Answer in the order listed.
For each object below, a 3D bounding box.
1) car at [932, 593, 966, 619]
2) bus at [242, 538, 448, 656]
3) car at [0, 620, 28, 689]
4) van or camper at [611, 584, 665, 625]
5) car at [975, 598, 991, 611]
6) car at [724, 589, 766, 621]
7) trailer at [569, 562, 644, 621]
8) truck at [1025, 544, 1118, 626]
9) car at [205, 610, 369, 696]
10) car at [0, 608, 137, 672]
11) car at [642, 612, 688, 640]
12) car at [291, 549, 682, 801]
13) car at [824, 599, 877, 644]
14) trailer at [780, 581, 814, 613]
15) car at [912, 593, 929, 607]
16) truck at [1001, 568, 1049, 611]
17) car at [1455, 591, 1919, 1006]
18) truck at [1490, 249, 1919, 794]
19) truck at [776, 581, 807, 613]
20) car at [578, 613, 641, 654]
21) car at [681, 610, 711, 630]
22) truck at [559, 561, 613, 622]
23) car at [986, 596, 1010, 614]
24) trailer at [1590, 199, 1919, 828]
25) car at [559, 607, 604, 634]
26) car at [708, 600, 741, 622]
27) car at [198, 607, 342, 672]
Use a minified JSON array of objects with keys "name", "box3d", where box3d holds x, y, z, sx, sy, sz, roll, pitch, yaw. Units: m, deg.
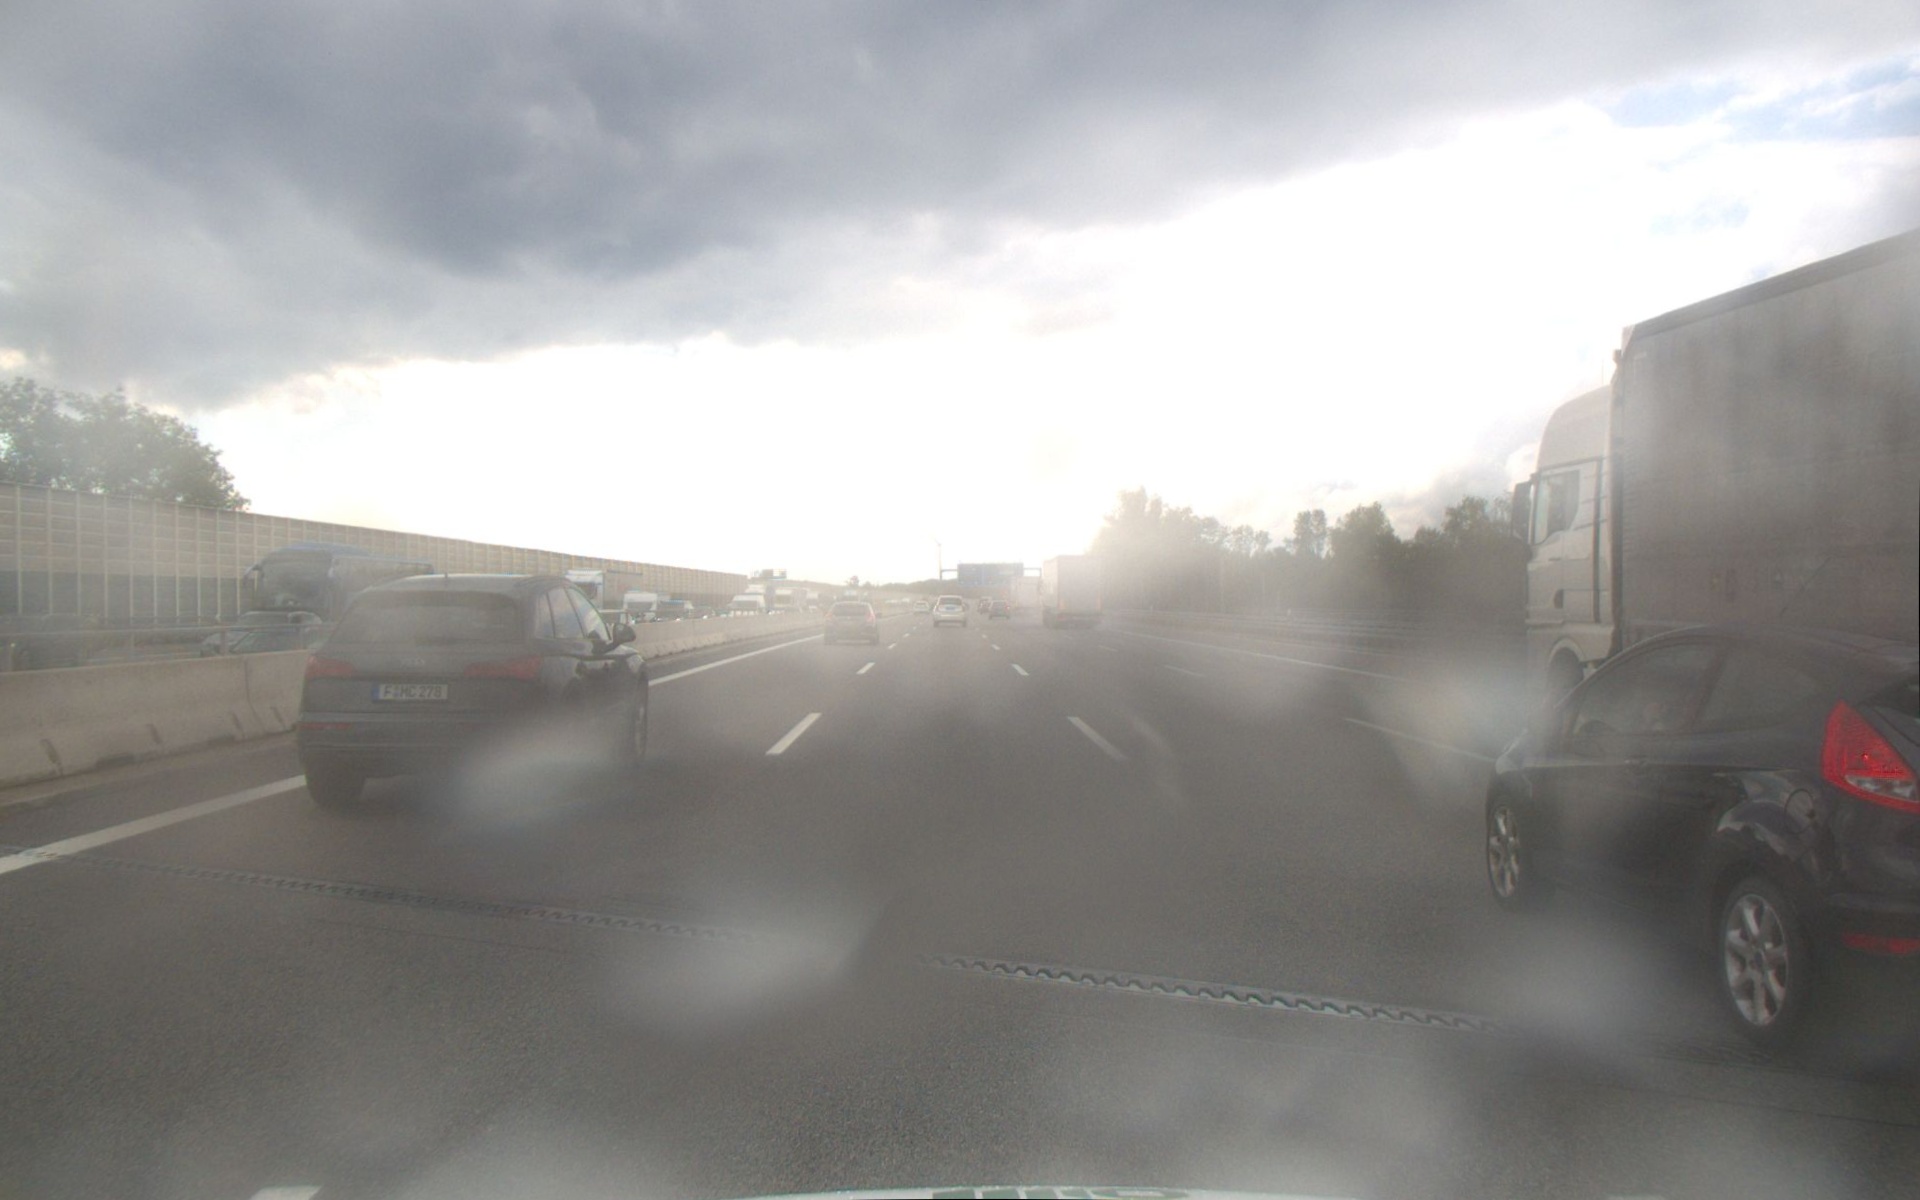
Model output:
[{"name":"car","box3d":[-0.666,0.337,95.688,1.737,1.466,4.053,1,1,-3]},{"name":"bus","box3d":[-21.841,-0.134,59.752,3.029,3.824,11.880,0,0,0]},{"name":"car","box3d":[-21.352,1.190,34.109,1.712,1.455,4.714,0,0,-2]},{"name":"van or camper","box3d":[-21.940,0.265,113.107,2.296,2.687,7.149,0,0,0]},{"name":"car","box3d":[2.780,0.541,199.332,1.799,1.466,4.054,1,1,-2]},{"name":"car","box3d":[-14.777,0.321,113.854,2.115,2.107,6.014,0,0,0]},{"name":"trailer","box3d":[-25.665,-0.621,120.842,2.510,4.003,13.815,1,0,0]},{"name":"truck","box3d":[6.309,-0.830,96.130,4.096,4.363,12.608,1,0,-2]},{"name":"car","box3d":[-13.935,1.044,34.499,1.712,1.636,4.177,0,0,0]},{"name":"car","box3d":[-25.232,1.058,46.122,1.712,1.639,5.688,0,0,0]},{"name":"car","box3d":[-18.571,1.627,104.427,2.036,1.688,4.801,0,0,0]},{"name":"car","box3d":[-3.678,0.512,13.922,1.870,1.721,5.167,0,0,-1]},{"name":"car","box3d":[-3.733,0.702,56.737,1.725,1.393,5.057,1,1,-3]},{"name":"trailer","box3d":[-21.359,-0.421,217.755,3.016,4.003,14.981,1,0,0]},{"name":"car","box3d":[-4.420,-0.021,183.535,1.737,1.466,3.872,1,1,-3]},{"name":"truck","box3d":[6.715,-1.085,172.879,4.158,4.249,11.985,1,0,-2]},{"name":"car","box3d":[3.441,0.696,7.436,1.417,1.466,3.163,0,0,-1]},{"name":"truck","box3d":[7.631,-0.610,15.784,2.901,4.090,6.587,1,0,-1]},{"name":"truck","box3d":[-21.325,-0.386,209.950,3.016,4.003,8.053,1,0,0]},{"name":"car","box3d":[-14.381,1.357,68.040,1.712,1.552,4.177,0,0,0]},{"name":"car","box3d":[-22.259,1.699,139.672,1.884,1.627,4.252,0,0,0]},{"name":"truck","box3d":[-25.661,-0.589,113.669,2.524,4.003,5.176,1,0,0]},{"name":"car","box3d":[3.176,0.425,139.985,1.799,1.466,4.054,1,1,-2]},{"name":"trailer","box3d":[7.718,-0.534,9.030,2.901,4.090,14.115,1,1,-1]},{"name":"car","box3d":[-22.184,1.180,97.120,1.712,1.552,4.177,0,0,0]},{"name":"car","box3d":[-18.408,0.844,129.652,1.884,1.627,5.095,0,0,0]},{"name":"car","box3d":[-17.944,0.984,43.279,1.712,1.552,4.926,0,0,0]}]
